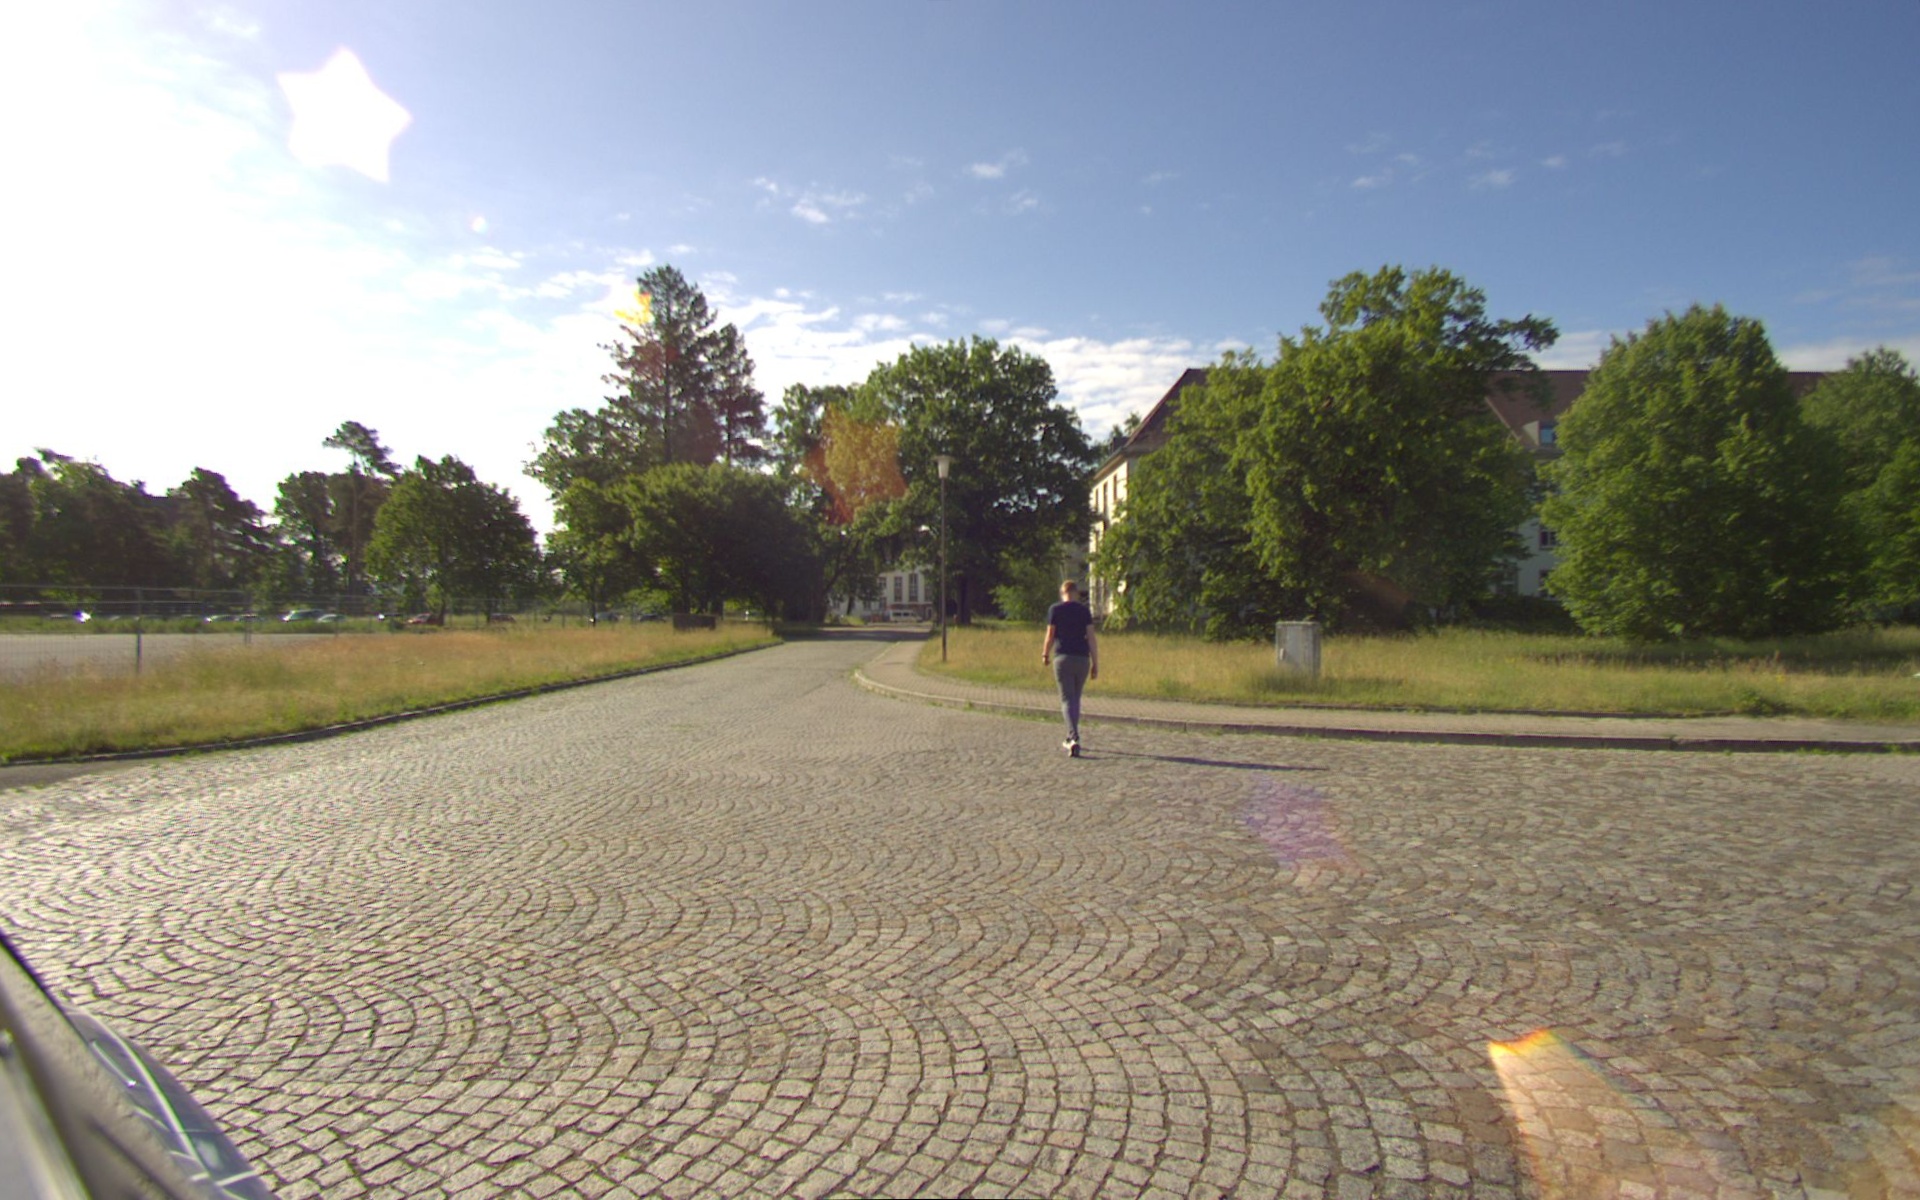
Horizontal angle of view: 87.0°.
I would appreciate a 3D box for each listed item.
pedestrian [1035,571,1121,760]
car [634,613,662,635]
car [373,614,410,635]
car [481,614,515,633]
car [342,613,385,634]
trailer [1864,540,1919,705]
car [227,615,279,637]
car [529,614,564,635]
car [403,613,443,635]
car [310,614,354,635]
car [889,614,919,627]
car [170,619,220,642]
[{"bbox_3d":[1.251,0.678,10.934,0.789,1.929,1.142,0,-1,0],"label":"pedestrian"},{"bbox_3d":[-30.439,2.333,98.828,1.968,2.029,4.006,0,-1,-7],"label":"car"},{"bbox_3d":[-55.556,2.361,98.966,1.968,2.029,4.008,0,-1,-9],"label":"car"},{"bbox_3d":[-45.278,2.292,99.248,1.968,1.829,4.006,0,-1,-7],"label":"car"},{"bbox_3d":[-59.273,2.353,100.555,1.971,2.029,4.001,0,-1,-1],"label":"car"},{"bbox_3d":[14.334,0.312,12.657,1.985,2.290,4.469,0,0,-1],"label":"trailer"},{"bbox_3d":[-69.308,2.547,99.277,1.975,2.029,3.993,-3,-1,6],"label":"car"},{"bbox_3d":[-40.705,2.385,99.650,1.970,2.029,4.003,0,-1,-4],"label":"car"},{"bbox_3d":[-52.648,2.346,99.297,1.971,2.029,4.002,0,-1,-3],"label":"car"},{"bbox_3d":[-61.621,2.377,99.402,1.970,1.962,4.003,0,-1,-3],"label":"car"},{"bbox_3d":[-8.933,3.258,161.352,4.804,2.111,2.000,0,-1,-1],"label":"car"},{"bbox_3d":[-74.948,2.965,99.253,1.971,2.029,4.002,-3,-1,-3],"label":"car"}]
